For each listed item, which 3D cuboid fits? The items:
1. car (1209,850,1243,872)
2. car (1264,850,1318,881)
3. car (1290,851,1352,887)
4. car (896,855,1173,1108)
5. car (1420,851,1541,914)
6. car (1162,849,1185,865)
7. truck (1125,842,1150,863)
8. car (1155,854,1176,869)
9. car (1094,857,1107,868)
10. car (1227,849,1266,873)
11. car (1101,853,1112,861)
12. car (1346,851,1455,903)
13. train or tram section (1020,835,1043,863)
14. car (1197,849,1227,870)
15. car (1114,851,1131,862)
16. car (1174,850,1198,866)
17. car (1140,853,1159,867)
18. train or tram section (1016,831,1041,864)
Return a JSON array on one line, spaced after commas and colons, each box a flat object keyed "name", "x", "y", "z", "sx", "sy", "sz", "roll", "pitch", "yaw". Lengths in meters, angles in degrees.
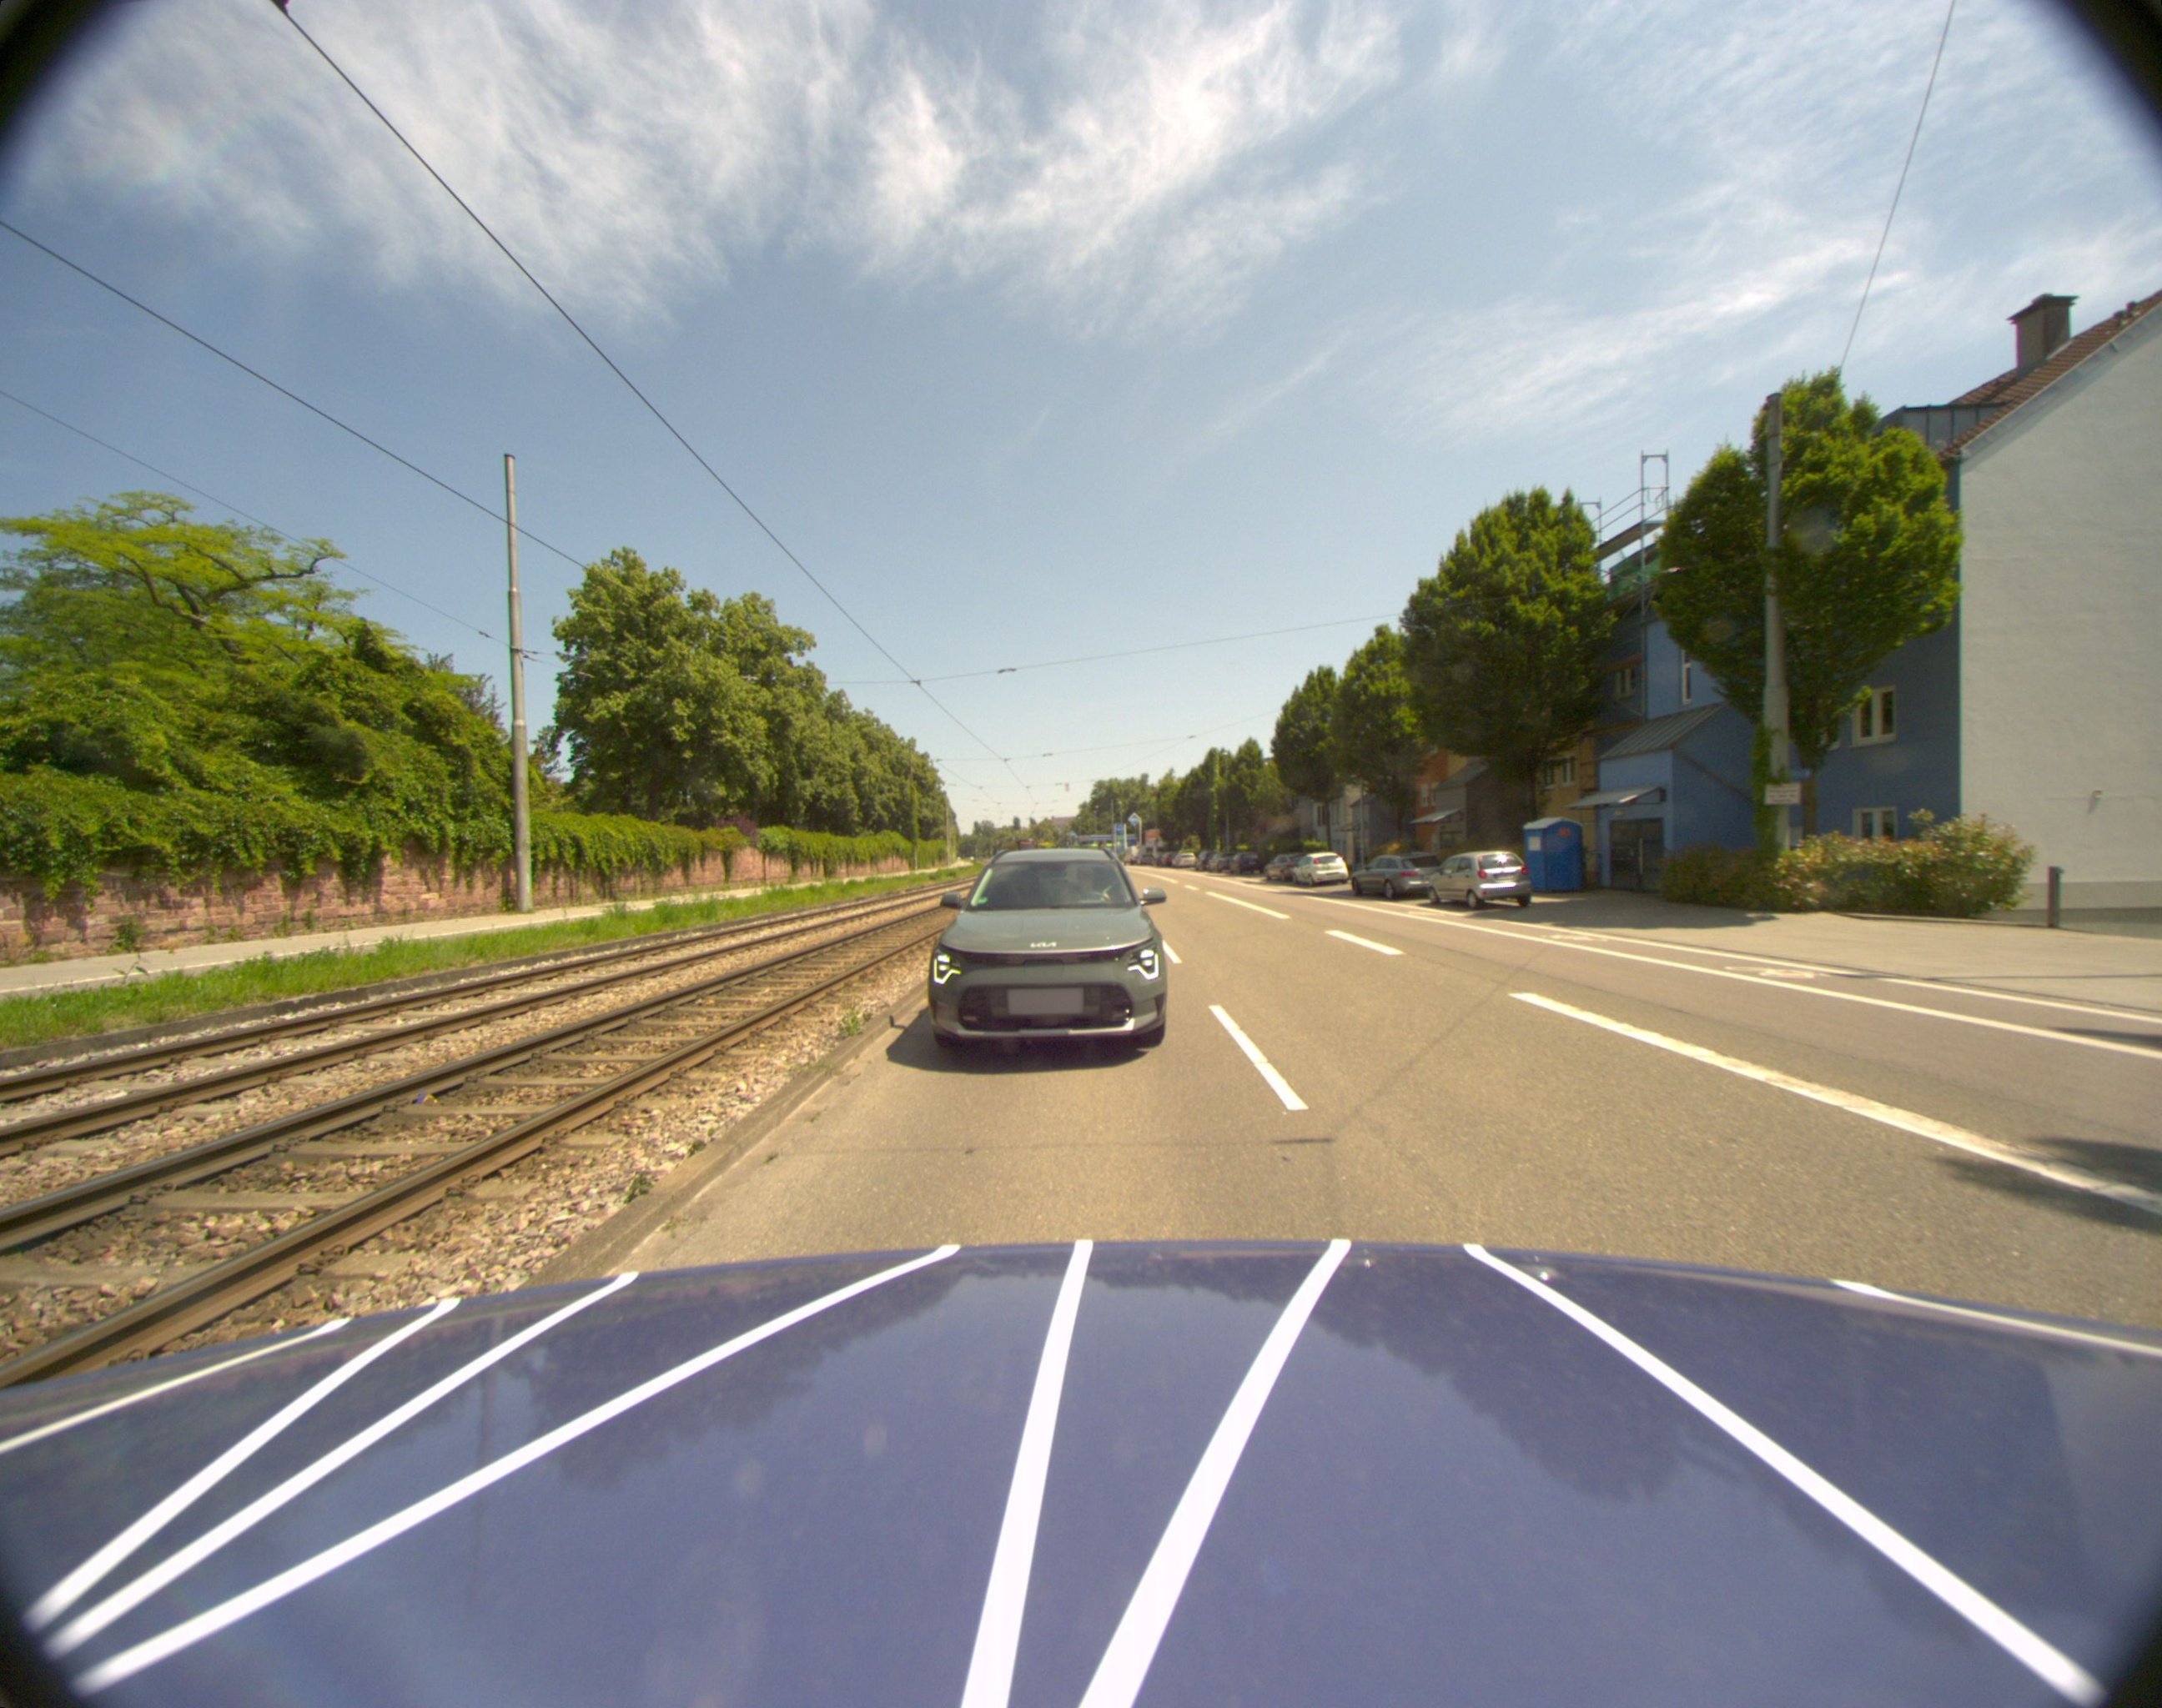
[{"name": "car", "x": 11.003, "y": 0.501, "z": 57.756, "sx": 1.656, "sy": 1.487, "sz": 4.082, "roll": -5, "pitch": 0, "yaw": -1}, {"name": "car", "x": 11.425, "y": 0.568, "z": 41.601, "sx": 1.656, "sy": 1.487, "sz": 4.082, "roll": -5, "pitch": 0, "yaw": -1}, {"name": "car", "x": 11.346, "y": 0.656, "z": 36.143, "sx": 1.656, "sy": 1.487, "sz": 3.649, "roll": -5, "pitch": 0, "yaw": -1}, {"name": "car", "x": -0.280, "y": 0.845, "z": 7.215, "sx": 1.759, "sy": 1.574, "sz": 4.427, "roll": -2, "pitch": 0, "yaw": 1}, {"name": "car", "x": 10.966, "y": 0.725, "z": 21.106, "sx": 1.505, "sy": 1.487, "sz": 3.281, "roll": -5, "pitch": 0, "yaw": -1}, {"name": "car", "x": 9.854, "y": 0.338, "z": 81.017, "sx": 1.865, "sy": 1.487, "sz": 3.470, "roll": -5, "pitch": 0, "yaw": -1}, {"name": "truck", "x": 7.485, "y": -0.177, "z": 100.993, "sx": 2.135, "sy": 2.565, "sz": 4.860, "roll": -5, "pitch": 1, "yaw": -8}, {"name": "car", "x": 9.528, "y": 0.805, "z": 85.908, "sx": 1.865, "sy": 1.487, "sz": 3.470, "roll": -5, "pitch": 0, "yaw": -1}, {"name": "car", "x": 3.132, "y": 1.387, "z": 124.588, "sx": 1.865, "sy": 1.487, "sz": 3.470, "roll": -5, "pitch": 0, "yaw": -1}, {"name": "car", "x": 11.490, "y": 0.437, "z": 52.887, "sx": 1.656, "sy": 1.487, "sz": 4.082, "roll": -5, "pitch": 0, "yaw": -1}, {"name": "car", "x": 4.978, "y": 0.601, "z": 147.581, "sx": 1.865, "sy": 1.487, "sz": 3.470, "roll": -1, "pitch": 0, "yaw": -1}, {"name": "car", "x": 10.853, "y": 0.713, "z": 26.218, "sx": 1.680, "sy": 1.487, "sz": 4.638, "roll": -5, "pitch": 0, "yaw": -1}, {"name": "train or tram section", "x": -7.138, "y": -0.780, "z": 110.980, "sx": 2.784, "sy": 3.789, "sz": 14.257, "roll": -2, "pitch": 1, "yaw": -2}, {"name": "car", "x": 10.931, "y": 0.432, "z": 63.723, "sx": 1.656, "sy": 1.578, "sz": 4.082, "roll": -5, "pitch": 0, "yaw": -1}, {"name": "car", "x": 6.162, "y": 0.389, "z": 112.760, "sx": 1.866, "sy": 1.487, "sz": 3.468, "roll": -5, "pitch": 0, "yaw": -8}, {"name": "car", "x": 10.351, "y": 0.371, "z": 75.273, "sx": 1.723, "sy": 1.487, "sz": 4.082, "roll": -5, "pitch": 0, "yaw": -1}, {"name": "car", "x": 8.512, "y": 0.729, "z": 94.854, "sx": 1.865, "sy": 1.487, "sz": 3.470, "roll": -5, "pitch": 0, "yaw": -1}, {"name": "train or tram section", "x": -6.593, "y": -0.821, "z": 96.725, "sx": 2.814, "sy": 3.785, "sz": 14.255, "roll": -2, "pitch": 1, "yaw": -3}]
